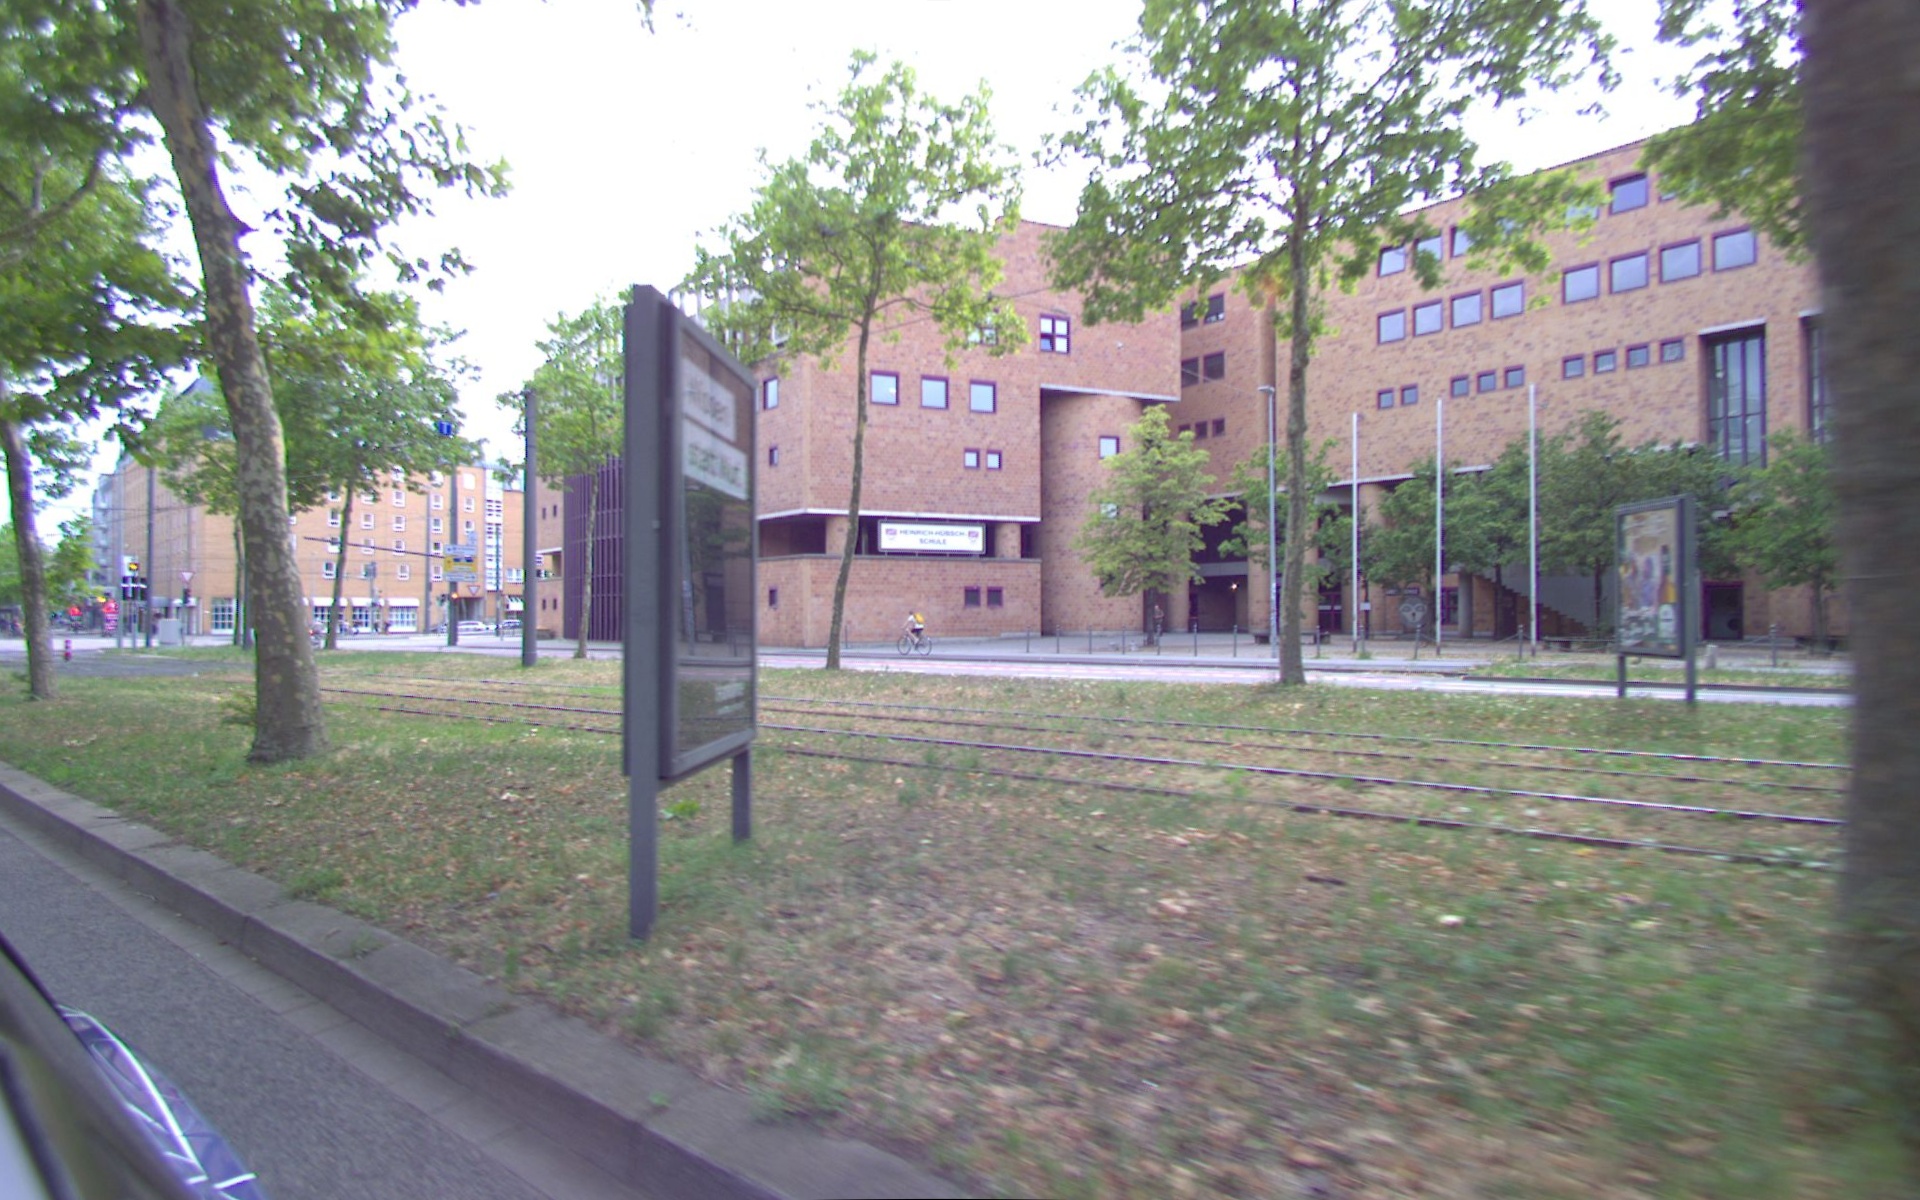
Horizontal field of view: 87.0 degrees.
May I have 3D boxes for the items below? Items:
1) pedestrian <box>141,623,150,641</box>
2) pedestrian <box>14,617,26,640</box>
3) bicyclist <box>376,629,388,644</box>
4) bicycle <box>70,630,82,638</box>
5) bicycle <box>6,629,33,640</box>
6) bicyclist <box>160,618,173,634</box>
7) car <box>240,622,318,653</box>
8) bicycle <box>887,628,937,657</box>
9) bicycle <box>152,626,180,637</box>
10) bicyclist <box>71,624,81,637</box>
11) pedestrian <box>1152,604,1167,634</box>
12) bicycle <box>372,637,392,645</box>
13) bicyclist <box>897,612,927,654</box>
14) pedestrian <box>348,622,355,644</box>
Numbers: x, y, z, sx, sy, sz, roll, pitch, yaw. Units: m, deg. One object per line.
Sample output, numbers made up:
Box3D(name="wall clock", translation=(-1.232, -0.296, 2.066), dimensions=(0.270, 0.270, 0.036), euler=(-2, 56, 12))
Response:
Box3D(name="pedestrian", translation=(-77.987, 3.044, 96.909), dimensions=(0.534, 1.719, 0.556), euler=(-1, -1, 39))
Box3D(name="pedestrian", translation=(-82.824, 2.511, 89.159), dimensions=(0.534, 1.966, 0.685), euler=(-1, -1, 37))
Box3D(name="bicyclist", translation=(-60.429, 3.796, 105.782), dimensions=(0.635, 1.512, 0.855), euler=(-1, -1, 36))
Box3D(name="bicycle", translation=(-103.855, 3.970, 118.894), dimensions=(1.888, 0.943, 0.651), euler=(-1, -1, 35))
Box3D(name="bicycle", translation=(-83.071, 3.063, 89.416), dimensions=(0.499, 0.895, 1.689), euler=(-1, -1, 41))
Box3D(name="bicyclist", translation=(-75.422, 2.508, 96.195), dimensions=(0.852, 1.512, 0.637), euler=(1, -1, -42))
Box3D(name="car", translation=(-33.426, 1.816, 49.634), dimensions=(4.651, 1.432, 1.767), euler=(-2, -2, 38))
Box3D(name="bicycle", translation=(-1.880, 1.633, 39.219), dimensions=(2.093, 1.092, 0.661), euler=(-2, -2, 42))
Box3D(name="bicycle", translation=(-75.432, 3.016, 96.179), dimensions=(2.028, 1.016, 0.641), euler=(1, -1, -41))
Box3D(name="bicyclist", translation=(-103.859, 3.583, 118.904), dimensions=(0.815, 1.512, 0.643), euler=(-1, -1, 34))
Box3D(name="pedestrian", translation=(10.208, 0.960, 51.854), dimensions=(0.500, 1.543, 0.521), euler=(0, -2, -36))
Box3D(name="bicycle", translation=(-60.411, 4.244, 105.806), dimensions=(0.639, 0.787, 1.775), euler=(-1, -1, 36))
Box3D(name="bicyclist", translation=(-1.849, 1.268, 39.193), dimensions=(0.984, 1.603, 0.657), euler=(-2, -2, 42))
Box3D(name="pedestrian", translation=(-57.450, 3.092, 95.514), dimensions=(0.516, 2.029, 0.447), euler=(0, -1, -37))
